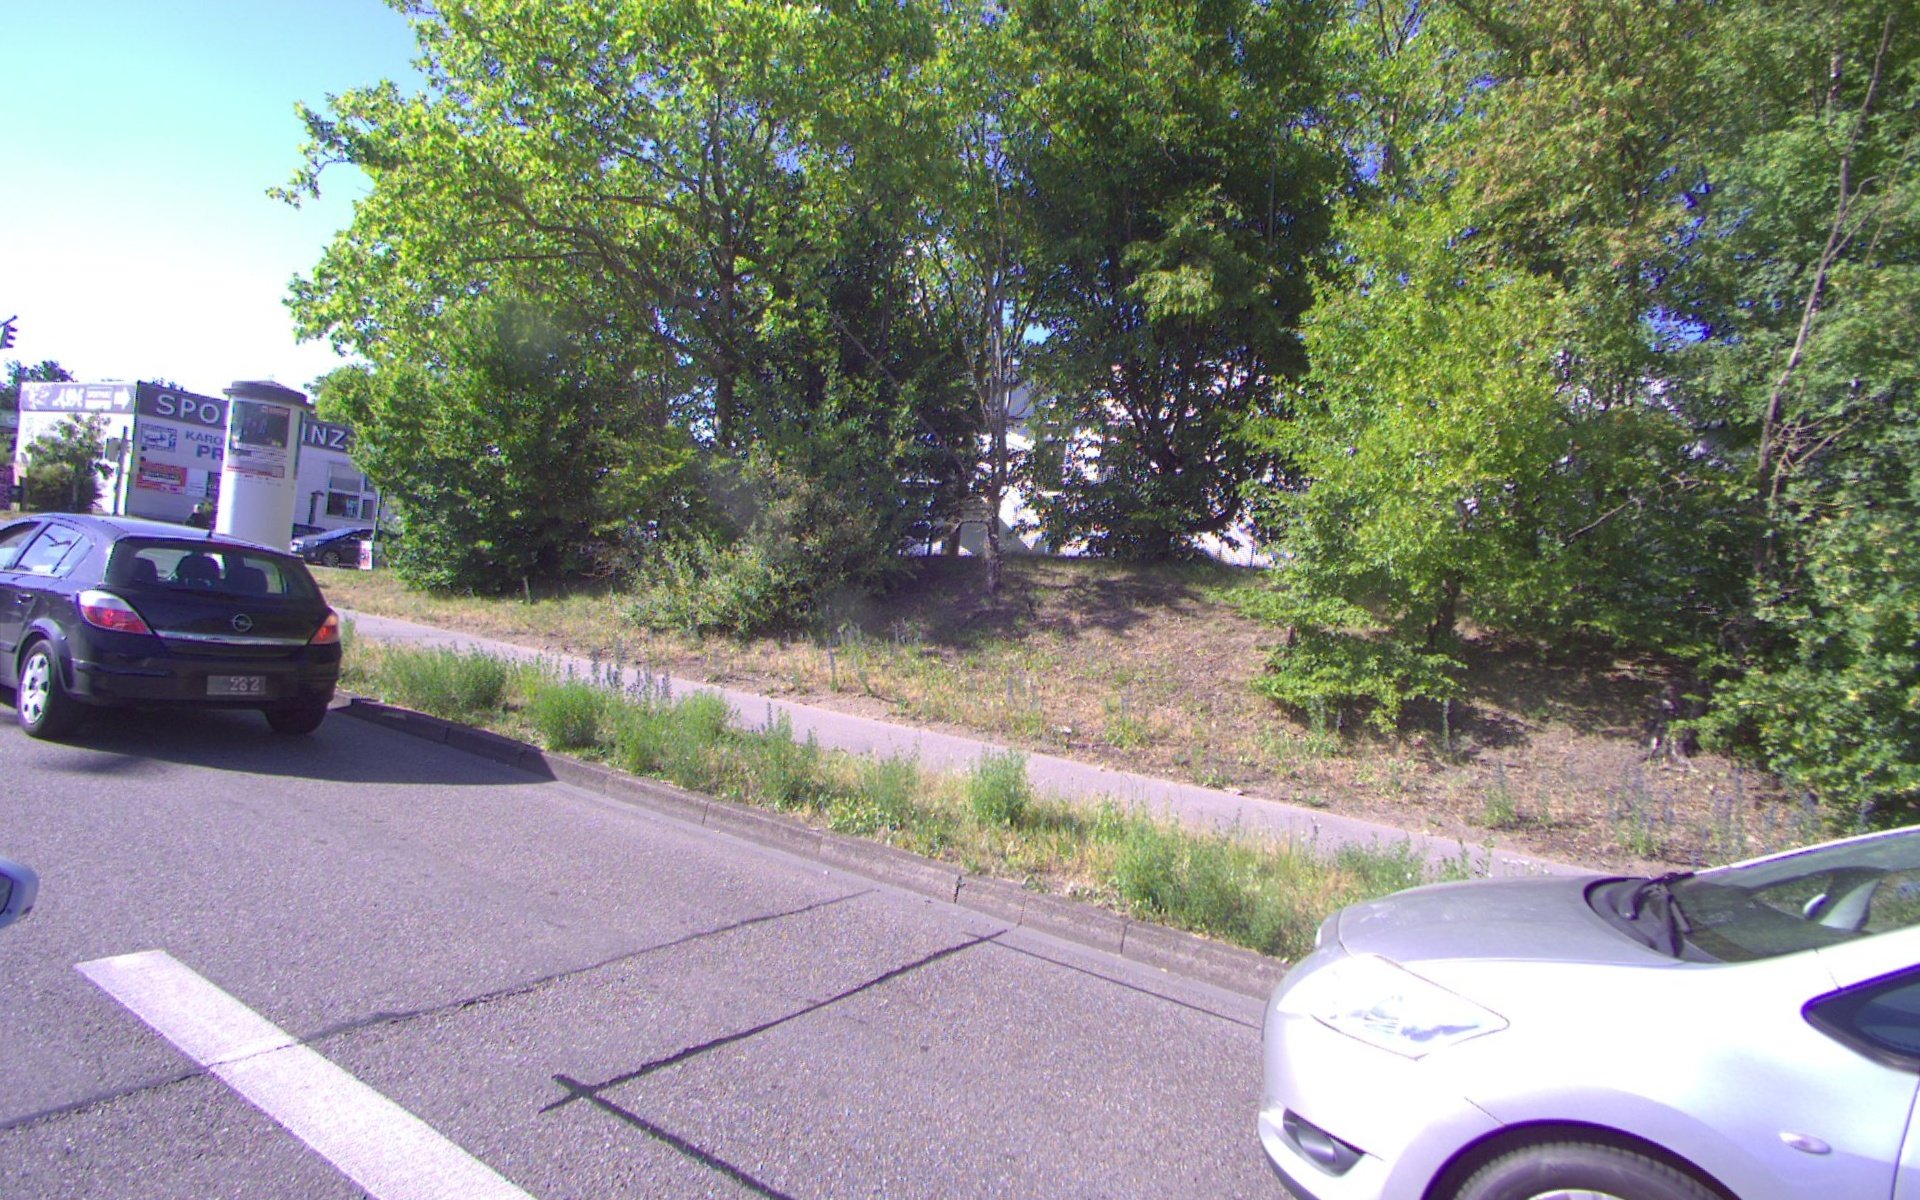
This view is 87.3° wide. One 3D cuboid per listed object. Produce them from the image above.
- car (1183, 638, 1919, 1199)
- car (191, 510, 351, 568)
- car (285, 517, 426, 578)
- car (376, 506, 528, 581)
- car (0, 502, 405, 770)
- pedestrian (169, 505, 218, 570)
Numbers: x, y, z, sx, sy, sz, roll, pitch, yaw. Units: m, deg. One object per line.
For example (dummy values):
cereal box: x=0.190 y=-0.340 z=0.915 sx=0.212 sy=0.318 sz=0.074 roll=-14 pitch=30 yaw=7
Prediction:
car: x=2.794 y=1.167 z=2.203 sx=4.040 sy=1.555 sz=1.787 roll=7 pitch=-2 yaw=32
car: x=-27.124 y=-2.360 z=39.795 sx=1.729 sy=1.484 sz=4.831 roll=6 pitch=-2 yaw=30
car: x=-23.389 y=-1.996 z=39.106 sx=1.611 sy=1.668 sz=4.316 roll=6 pitch=-2 yaw=31
car: x=-23.101 y=-2.512 z=46.002 sx=1.967 sy=2.706 sz=5.840 roll=6 pitch=0 yaw=32
car: x=-6.349 y=0.125 z=7.629 sx=4.299 sy=1.458 sz=1.737 roll=7 pitch=-2 yaw=32
pedestrian: x=-21.609 y=-1.750 z=28.368 sx=0.506 sy=1.688 sz=0.818 roll=6 pitch=-1 yaw=31
